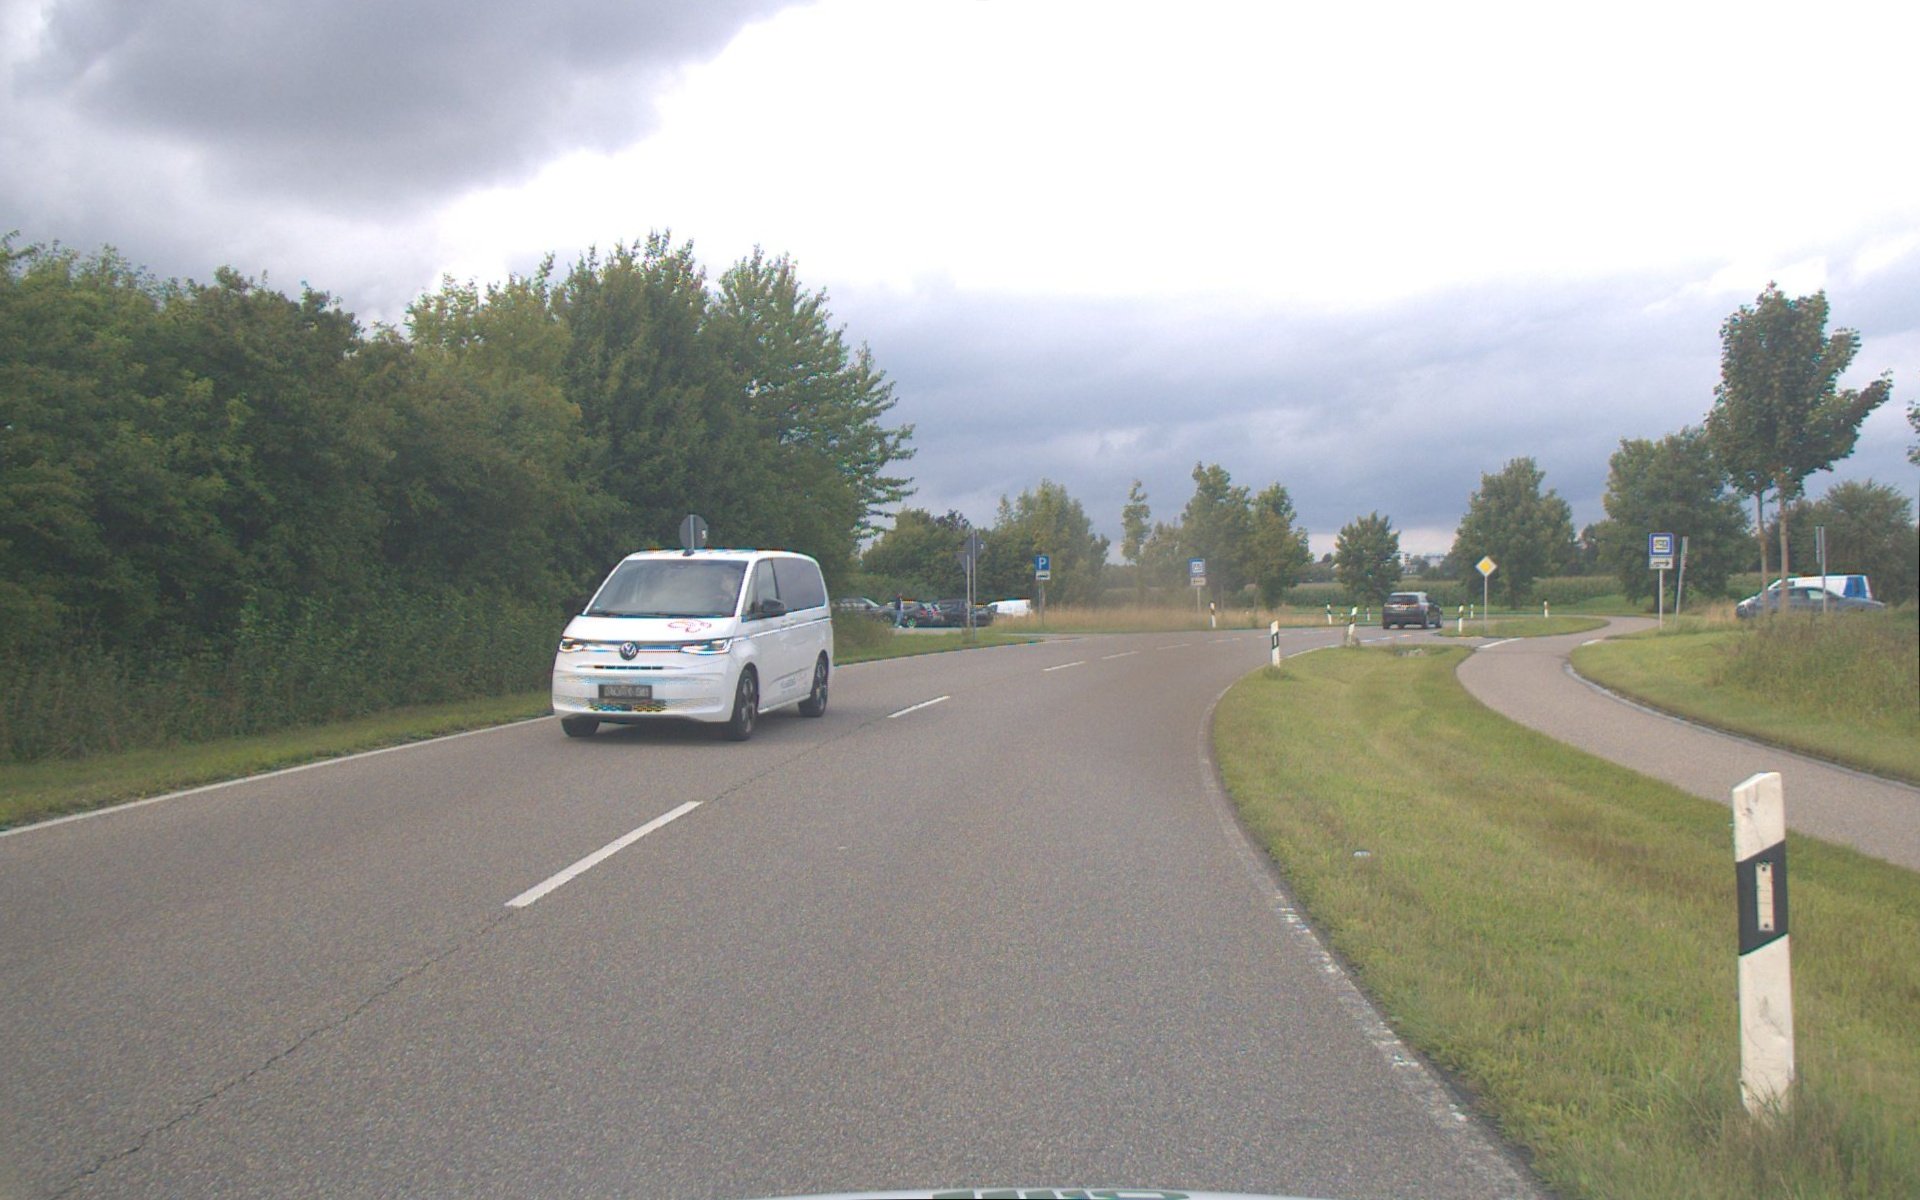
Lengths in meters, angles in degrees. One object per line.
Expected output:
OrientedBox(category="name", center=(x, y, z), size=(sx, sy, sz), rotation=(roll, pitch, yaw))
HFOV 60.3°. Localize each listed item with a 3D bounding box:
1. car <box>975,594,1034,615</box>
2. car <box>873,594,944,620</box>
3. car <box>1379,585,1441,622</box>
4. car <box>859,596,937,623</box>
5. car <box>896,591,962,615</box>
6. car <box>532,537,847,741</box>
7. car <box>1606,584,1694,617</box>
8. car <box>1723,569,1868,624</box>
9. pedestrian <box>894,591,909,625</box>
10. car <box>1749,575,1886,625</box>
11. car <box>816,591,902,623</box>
OrientedBox(category="car", center=(3.060, 0.305, 114.373), size=(3.902, 1.404, 1.477), rotation=(-1, 0, 9))
OrientedBox(category="car", center=(-2.912, 0.395, 94.347), size=(3.904, 1.404, 1.476), rotation=(-1, 0, 2))
OrientedBox(category="car", center=(18.338, 0.135, 67.332), size=(1.804, 1.442, 3.998), rotation=(-1, 0, 24))
OrientedBox(category="car", center=(-3.424, 0.523, 91.263), size=(3.902, 1.404, 1.825), rotation=(-1, 0, 15))
OrientedBox(category="car", center=(-1.850, 0.179, 100.144), size=(3.903, 1.404, 1.476), rotation=(-1, 0, 3))
OrientedBox(category="car", center=(-2.721, 0.365, 18.075), size=(2.068, 1.901, 5.190), rotation=(-1, 0, 6))
OrientedBox(category="car", center=(37.344, 0.019, 89.498), size=(4.243, 1.603, 1.970), rotation=(-2, -1, 25))
OrientedBox(category="car", center=(31.957, -0.131, 63.410), size=(4.848, 2.008, 1.953), rotation=(-1, 0, 26))
OrientedBox(category="pedestrian", center=(-2.873, 0.393, 81.017), size=(0.504, 1.696, 0.661), rotation=(-1, 0, 18))
OrientedBox(category="car", center=(30.332, 0.003, 58.651), size=(4.187, 1.593, 1.836), rotation=(-2, -1, 26))
OrientedBox(category="car", center=(-5.233, 0.382, 85.726), size=(4.150, 1.593, 1.759), rotation=(-1, 0, 12))
